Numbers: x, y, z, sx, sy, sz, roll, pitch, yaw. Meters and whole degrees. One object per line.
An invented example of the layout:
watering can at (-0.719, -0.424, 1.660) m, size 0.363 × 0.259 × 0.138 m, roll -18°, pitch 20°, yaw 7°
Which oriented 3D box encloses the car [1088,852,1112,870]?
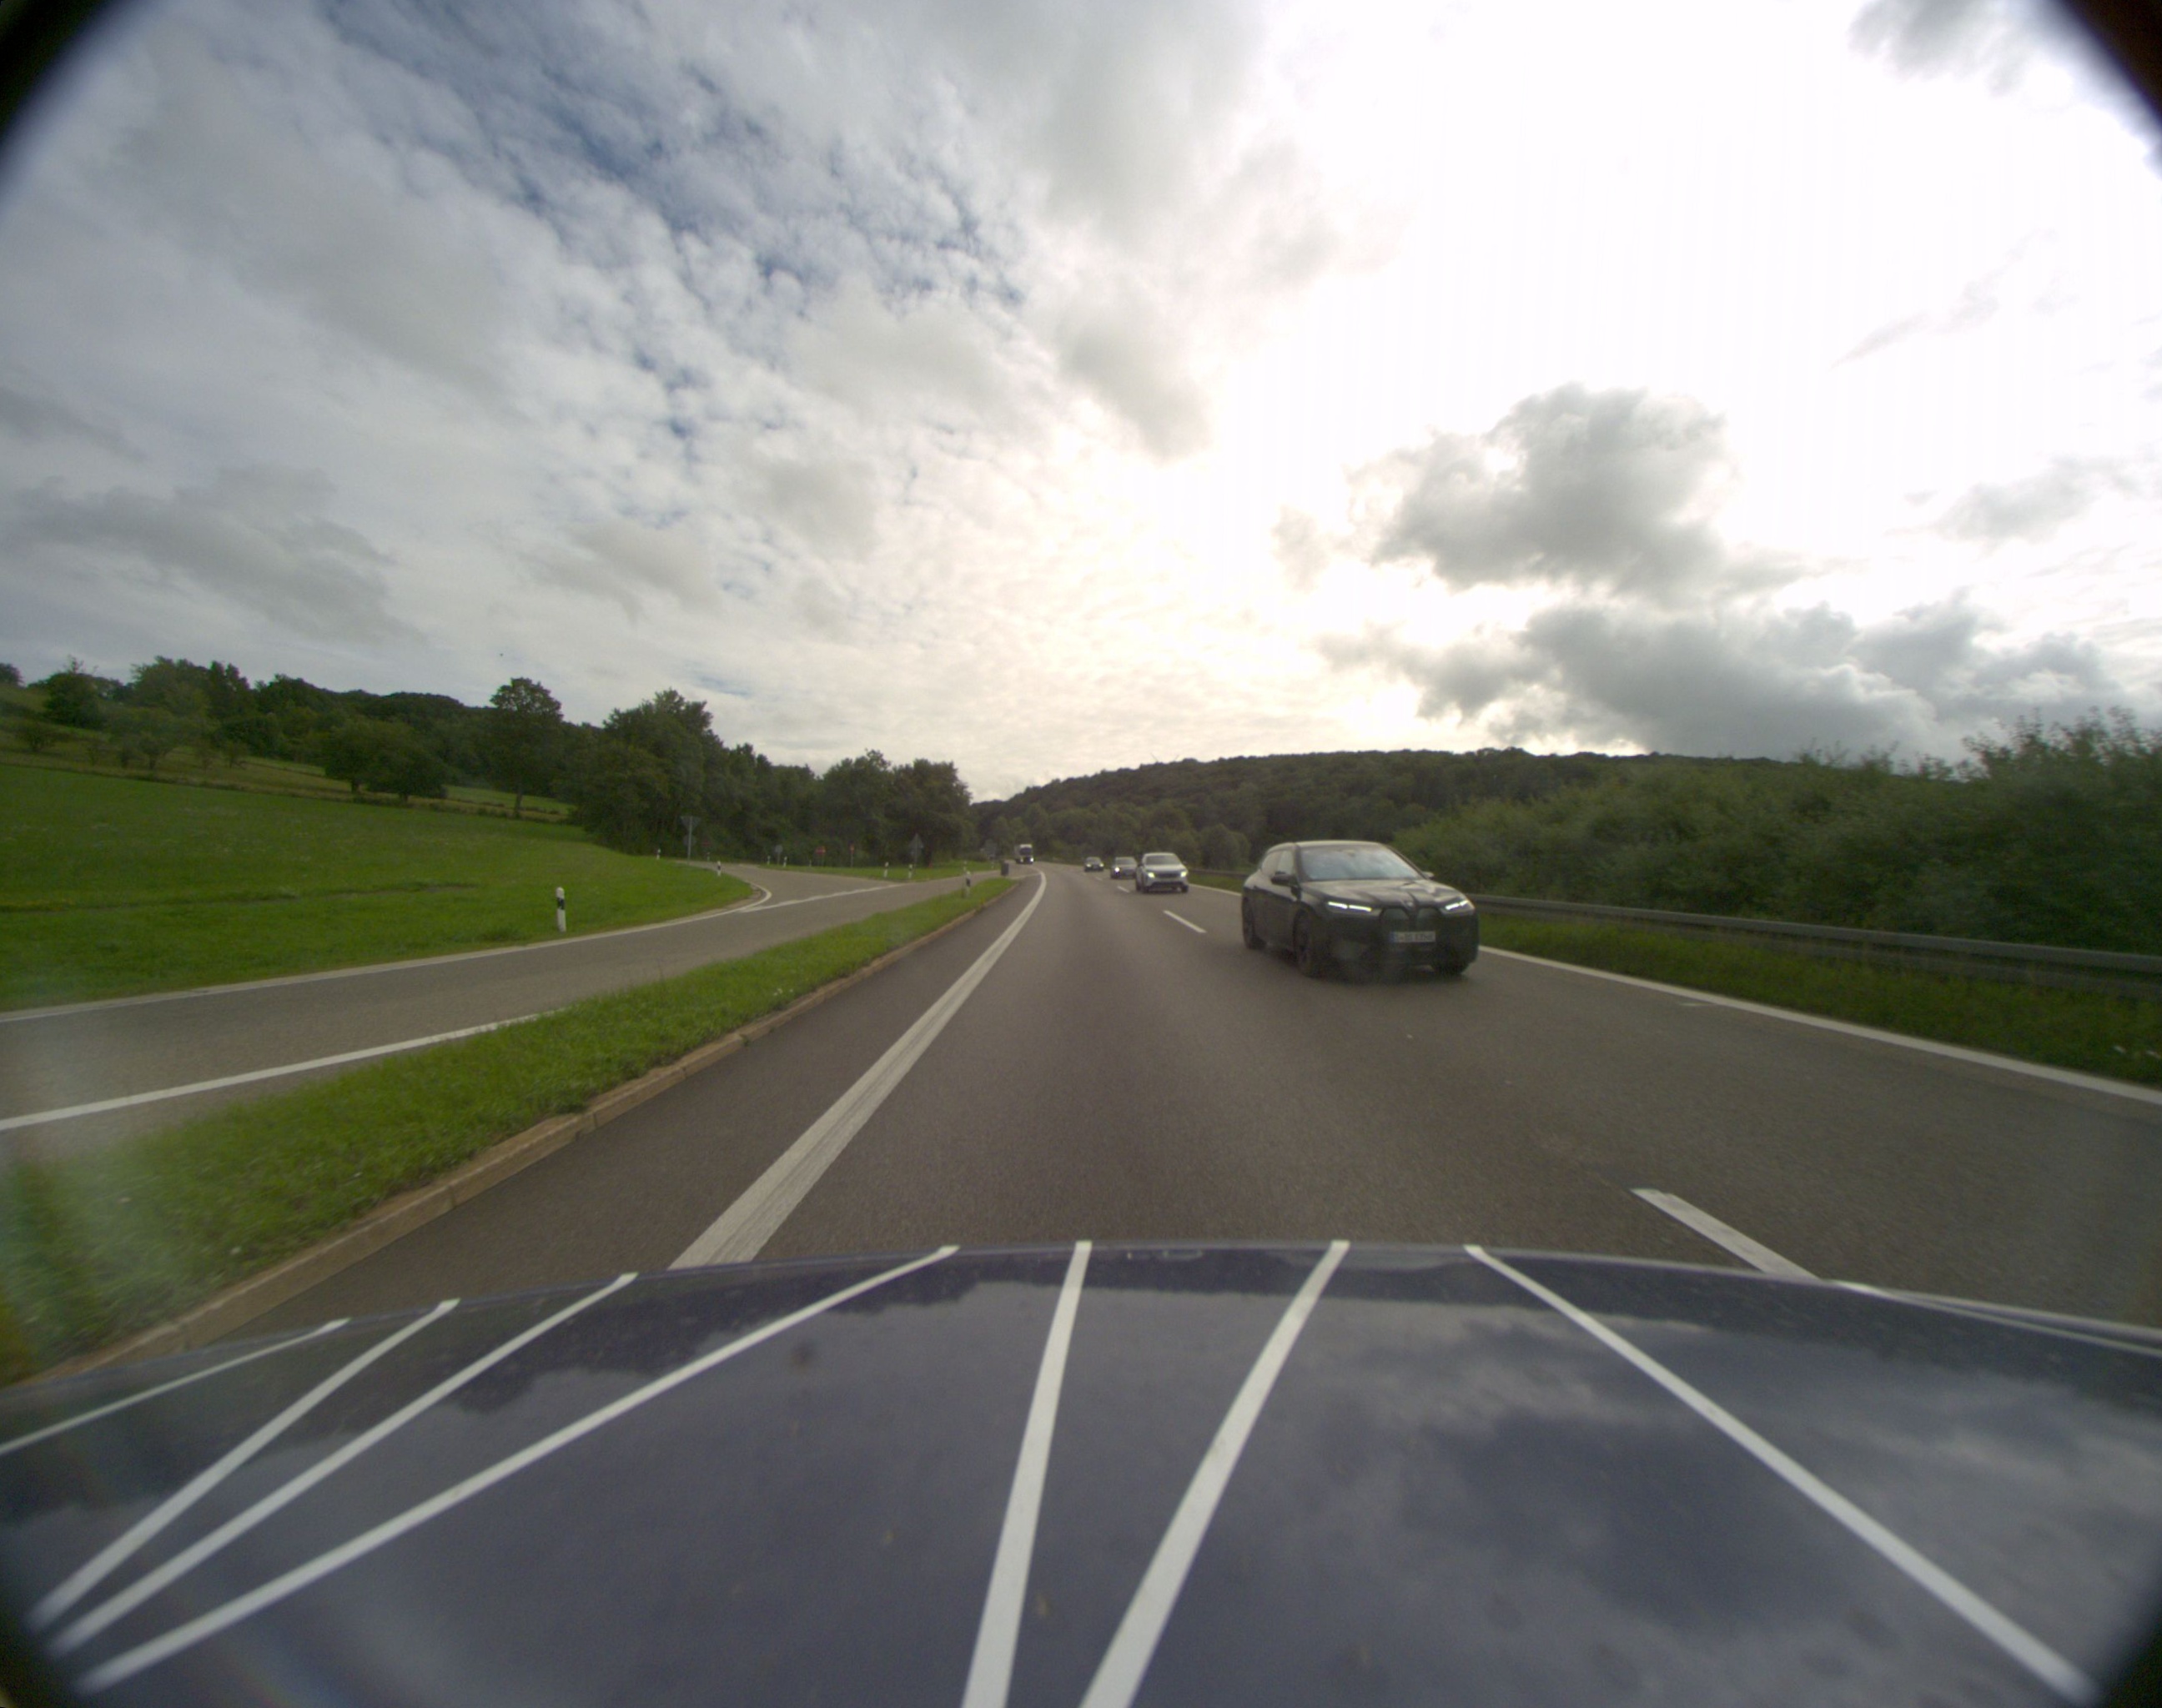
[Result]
car at (1.908, 0.650, 76.360) m, size 1.999 × 1.656 × 4.412 m, roll 0°, pitch 2°, yaw -4°

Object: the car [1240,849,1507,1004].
car at (3.653, 0.788, 10.500) m, size 1.998 × 1.656 × 4.415 m, roll -1°, pitch 0°, yaw 0°

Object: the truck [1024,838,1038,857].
truck at (-10.313, -1.345, 156.280) m, size 2.796 × 3.949 × 5.937 m, roll 0°, pitch 1°, yaw -3°

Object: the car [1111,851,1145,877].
car at (3.243, 0.658, 53.162) m, size 1.999 × 1.656 × 4.413 m, roll 0°, pitch 1°, yaw -1°

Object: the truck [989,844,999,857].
truck at (-28.079, -1.202, 244.249) m, size 2.798 × 3.949 × 5.933 m, roll 0°, pitch 1°, yaw -10°

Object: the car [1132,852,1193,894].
car at (3.416, 0.759, 32.627) m, size 1.999 × 1.656 × 4.414 m, roll -1°, pitch 0°, yaw -2°
